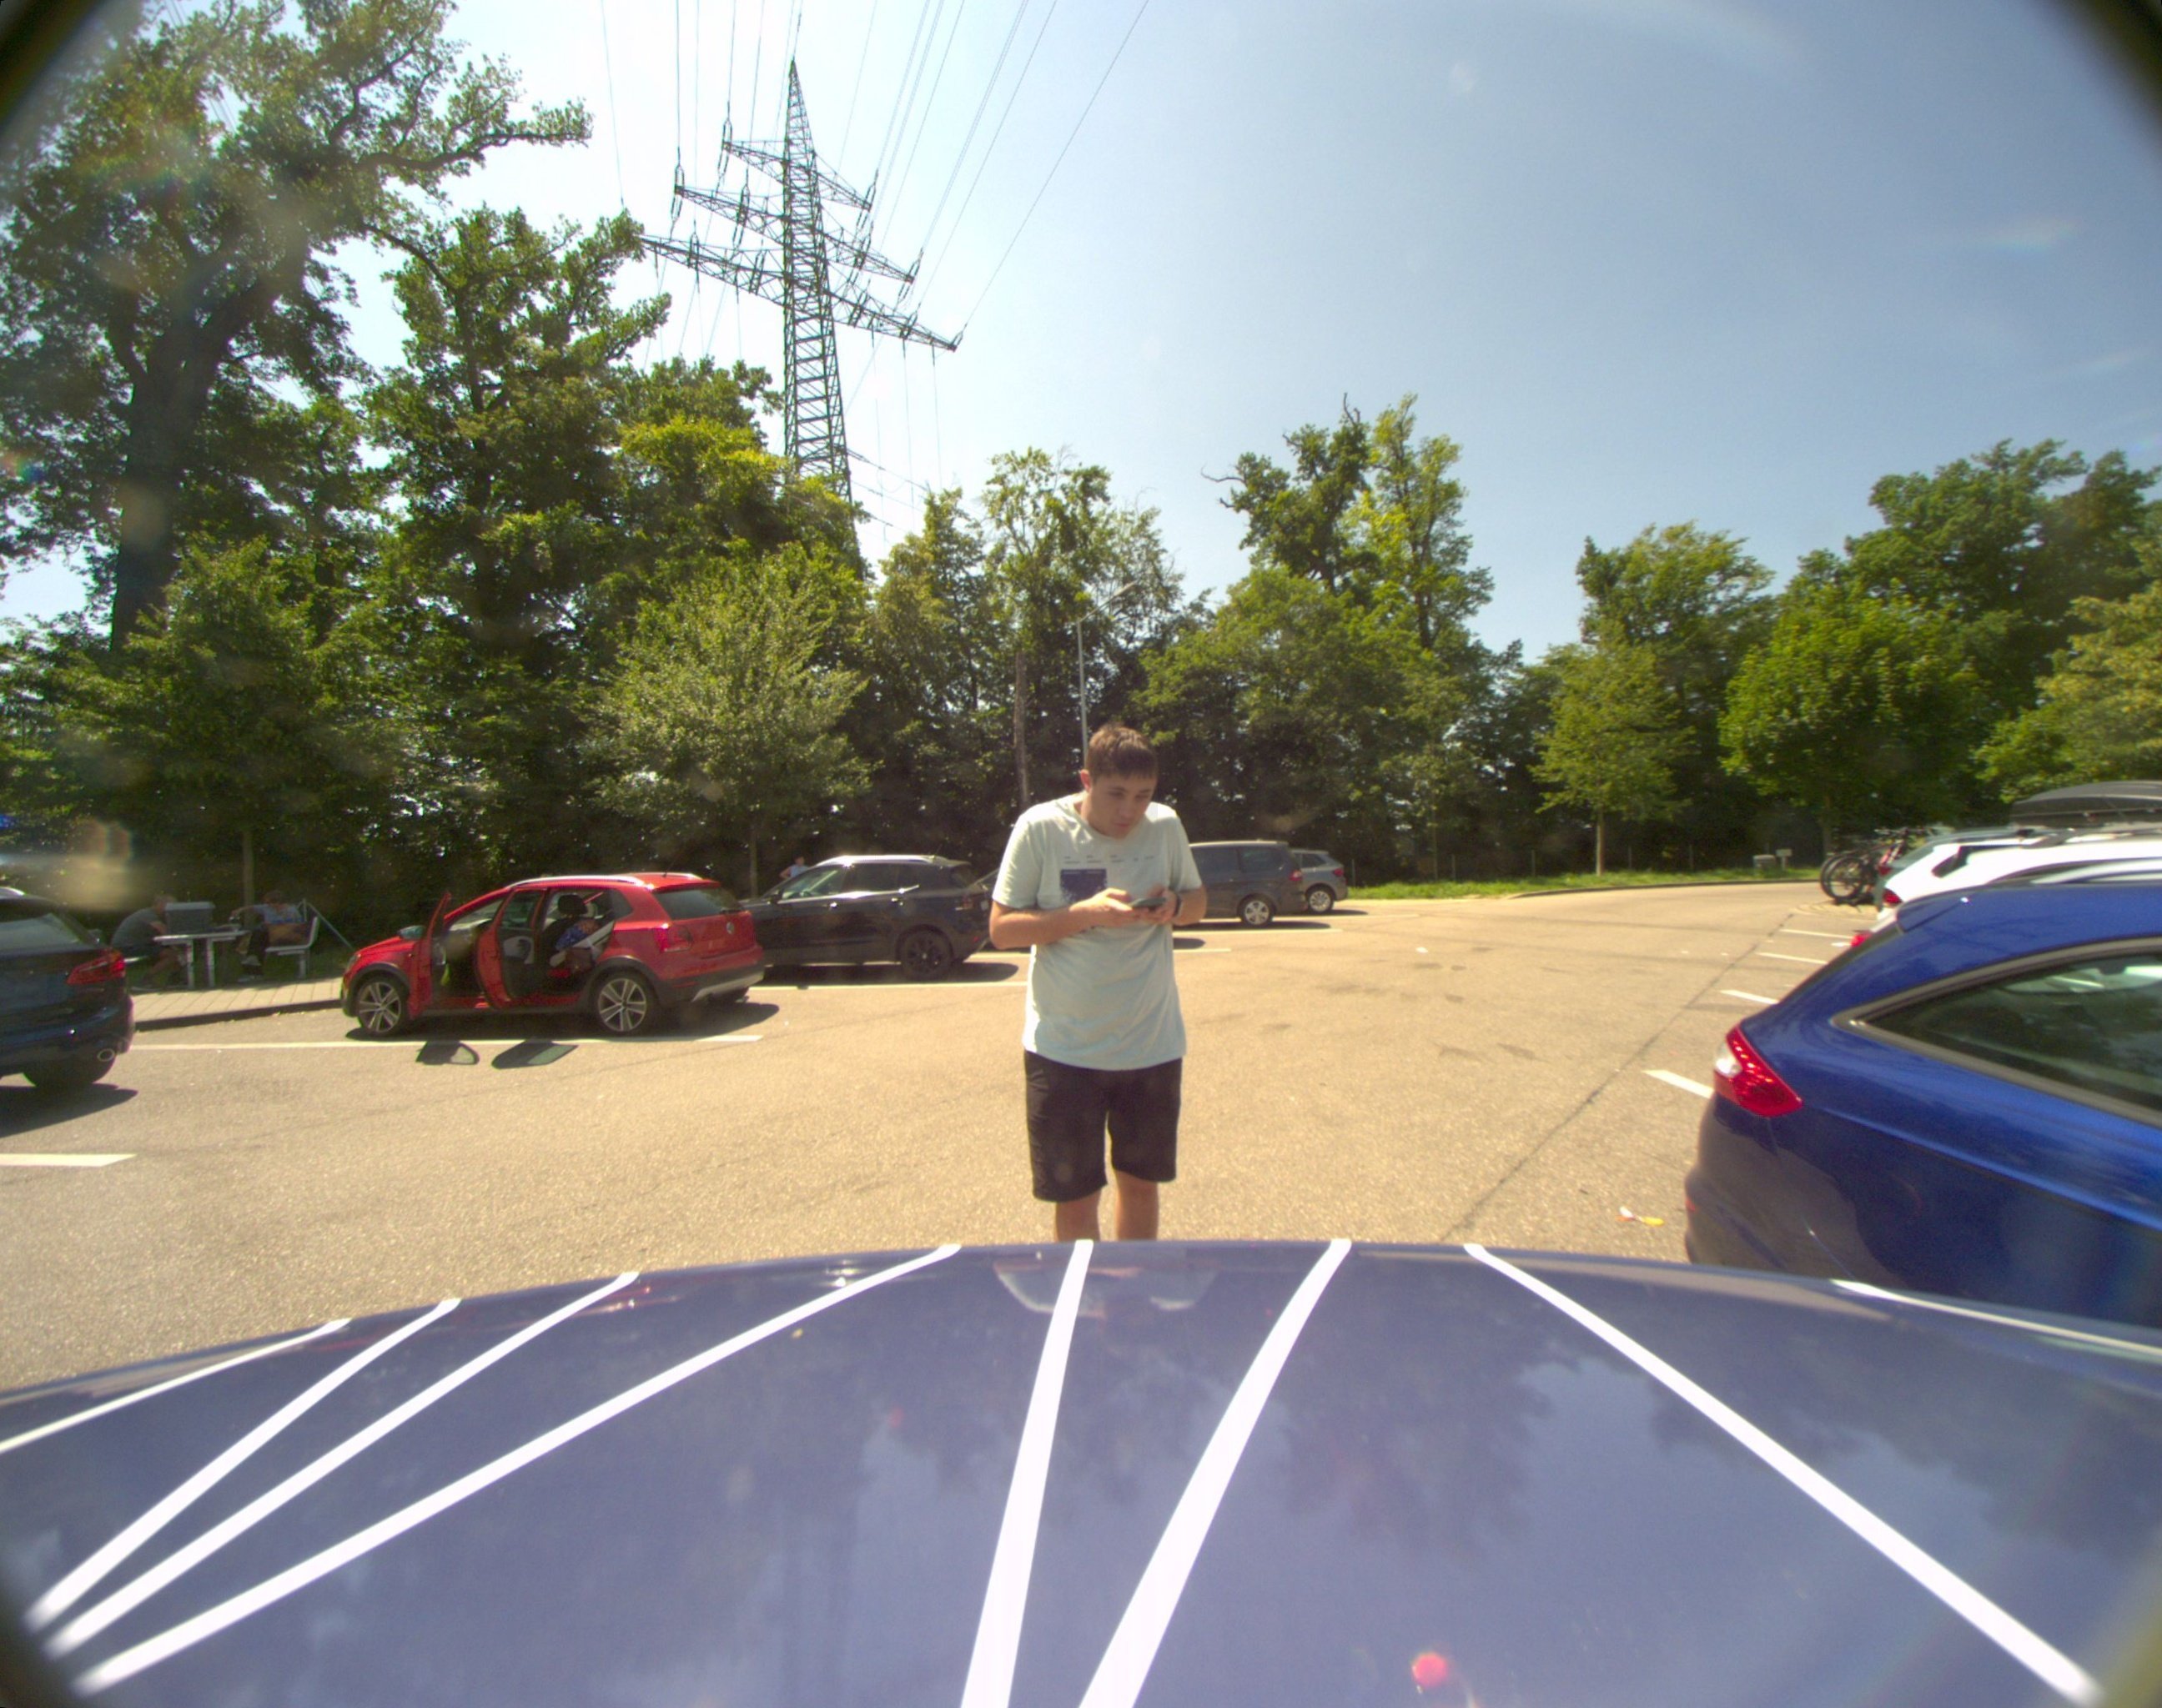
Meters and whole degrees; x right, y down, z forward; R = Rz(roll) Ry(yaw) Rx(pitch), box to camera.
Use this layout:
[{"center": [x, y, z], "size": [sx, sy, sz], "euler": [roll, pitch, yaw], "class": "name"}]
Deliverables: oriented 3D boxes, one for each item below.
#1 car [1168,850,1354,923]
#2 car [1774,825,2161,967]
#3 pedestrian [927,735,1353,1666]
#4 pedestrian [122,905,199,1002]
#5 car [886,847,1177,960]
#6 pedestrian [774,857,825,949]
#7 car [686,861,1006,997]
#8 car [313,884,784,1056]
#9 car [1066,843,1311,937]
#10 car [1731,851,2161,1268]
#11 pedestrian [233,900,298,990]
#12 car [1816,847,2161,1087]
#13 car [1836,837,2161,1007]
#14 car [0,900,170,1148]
[{"center": [4.152, 0.741, 18.012], "size": [3.996, 1.495, 1.687], "euler": [-2, 1, 3], "class": "car"}, {"center": [12.549, 0.473, 10.372], "size": [1.777, 1.541, 4.493], "euler": [-3, -1, -5], "class": "car"}, {"center": [0.162, 0.716, 2.097], "size": [0.863, 1.940, 0.686], "euler": [-3, 1, -36], "class": "pedestrian"}, {"center": [-12.623, 1.345, 10.441], "size": [0.695, 1.228, 0.588], "euler": [-3, 0, 43], "class": "pedestrian"}, {"center": [-0.731, 0.807, 13.074], "size": [4.610, 1.703, 2.001], "euler": [-2, 1, 9], "class": "car"}, {"center": [-5.815, 0.988, 15.684], "size": [0.767, 1.821, 0.519], "euler": [-3, 2, -44], "class": "pedestrian"}, {"center": [-3.024, 0.951, 10.316], "size": [3.732, 1.578, 1.739], "euler": [-2, 0, 2], "class": "car"}, {"center": [-5.181, 1.094, 7.639], "size": [3.730, 1.440, 1.591], "euler": [-2, 0, 7], "class": "car"}, {"center": [2.148, 0.711, 15.473], "size": [4.619, 1.701, 1.740], "euler": [-2, 0, 9], "class": "car"}, {"center": [4.881, 0.741, 2.356], "size": [1.776, 1.491, 4.495], "euler": [-3, -1, -1], "class": "car"}, {"center": [-11.942, 1.311, 11.130], "size": [0.695, 1.228, 0.588], "euler": [-3, 0, 43], "class": "pedestrian"}, {"center": [7.484, 0.672, 4.515], "size": [1.776, 1.418, 4.495], "euler": [-3, -1, -1], "class": "car"}, {"center": [10.117, 0.568, 6.901], "size": [1.777, 1.418, 4.493], "euler": [-3, -1, -5], "class": "car"}, {"center": [-8.876, 1.167, 4.995], "size": [3.934, 1.534, 1.812], "euler": [-2, 0, 7], "class": "car"}]
